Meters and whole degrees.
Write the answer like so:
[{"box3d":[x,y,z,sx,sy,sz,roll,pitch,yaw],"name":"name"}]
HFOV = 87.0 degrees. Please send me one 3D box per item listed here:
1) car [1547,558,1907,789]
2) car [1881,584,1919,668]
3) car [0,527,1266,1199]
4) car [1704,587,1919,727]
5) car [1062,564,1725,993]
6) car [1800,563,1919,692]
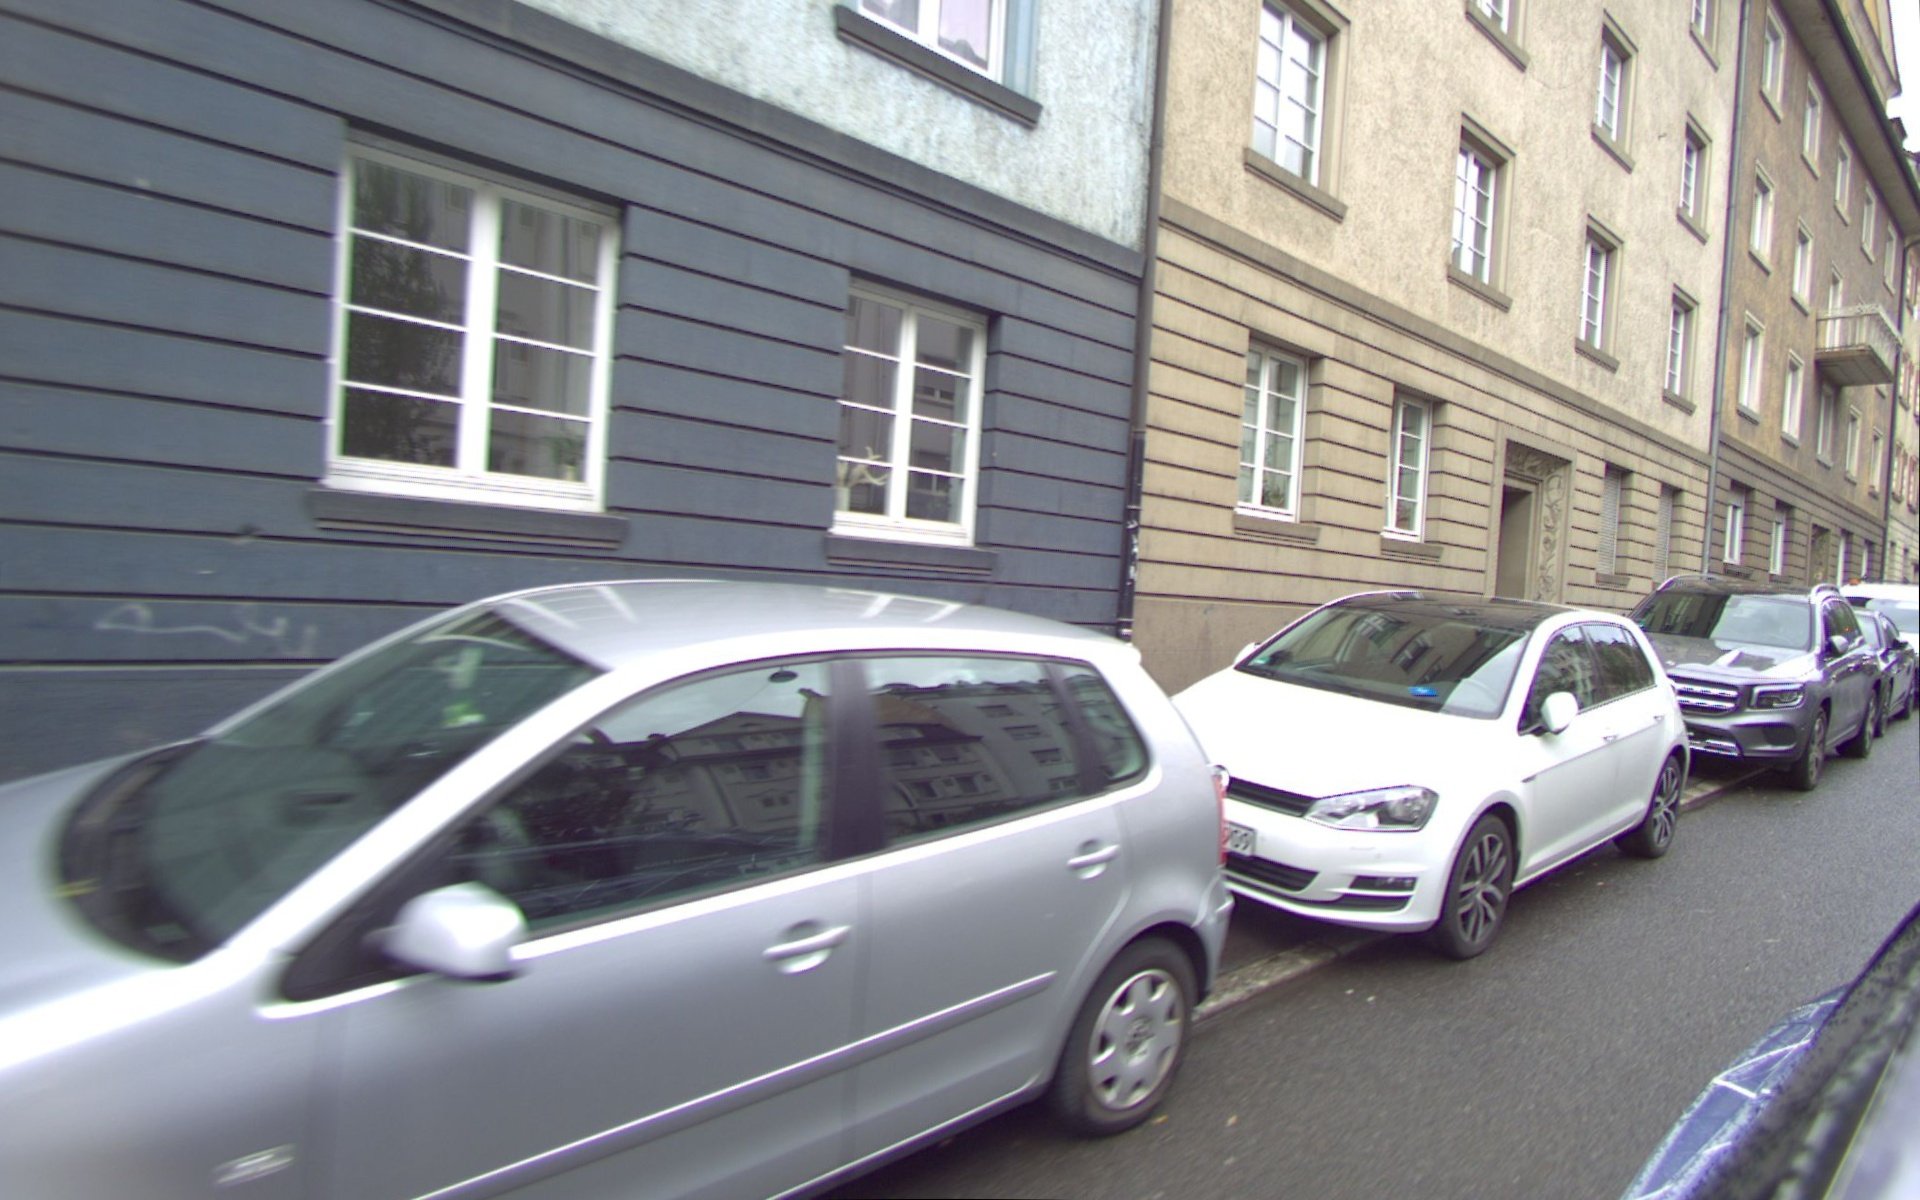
[{"box3d":[7.350,0.499,9.548,4.135,1.640,1.845,-1,4,-41],"name":"car"},{"box3d":[20.113,0.543,20.299,4.150,1.566,1.795,0,4,-40],"name":"car"},{"box3d":[-0.979,0.629,2.503,3.531,1.446,1.587,0,5,-41],"name":"car"},{"box3d":[11.586,0.617,13.395,4.312,1.426,1.845,0,5,-41],"name":"car"},{"box3d":[2.580,0.634,5.591,3.903,1.446,1.734,0,5,-41],"name":"car"},{"box3d":[15.467,0.411,16.644,4.008,1.839,1.795,0,4,-41],"name":"car"}]
